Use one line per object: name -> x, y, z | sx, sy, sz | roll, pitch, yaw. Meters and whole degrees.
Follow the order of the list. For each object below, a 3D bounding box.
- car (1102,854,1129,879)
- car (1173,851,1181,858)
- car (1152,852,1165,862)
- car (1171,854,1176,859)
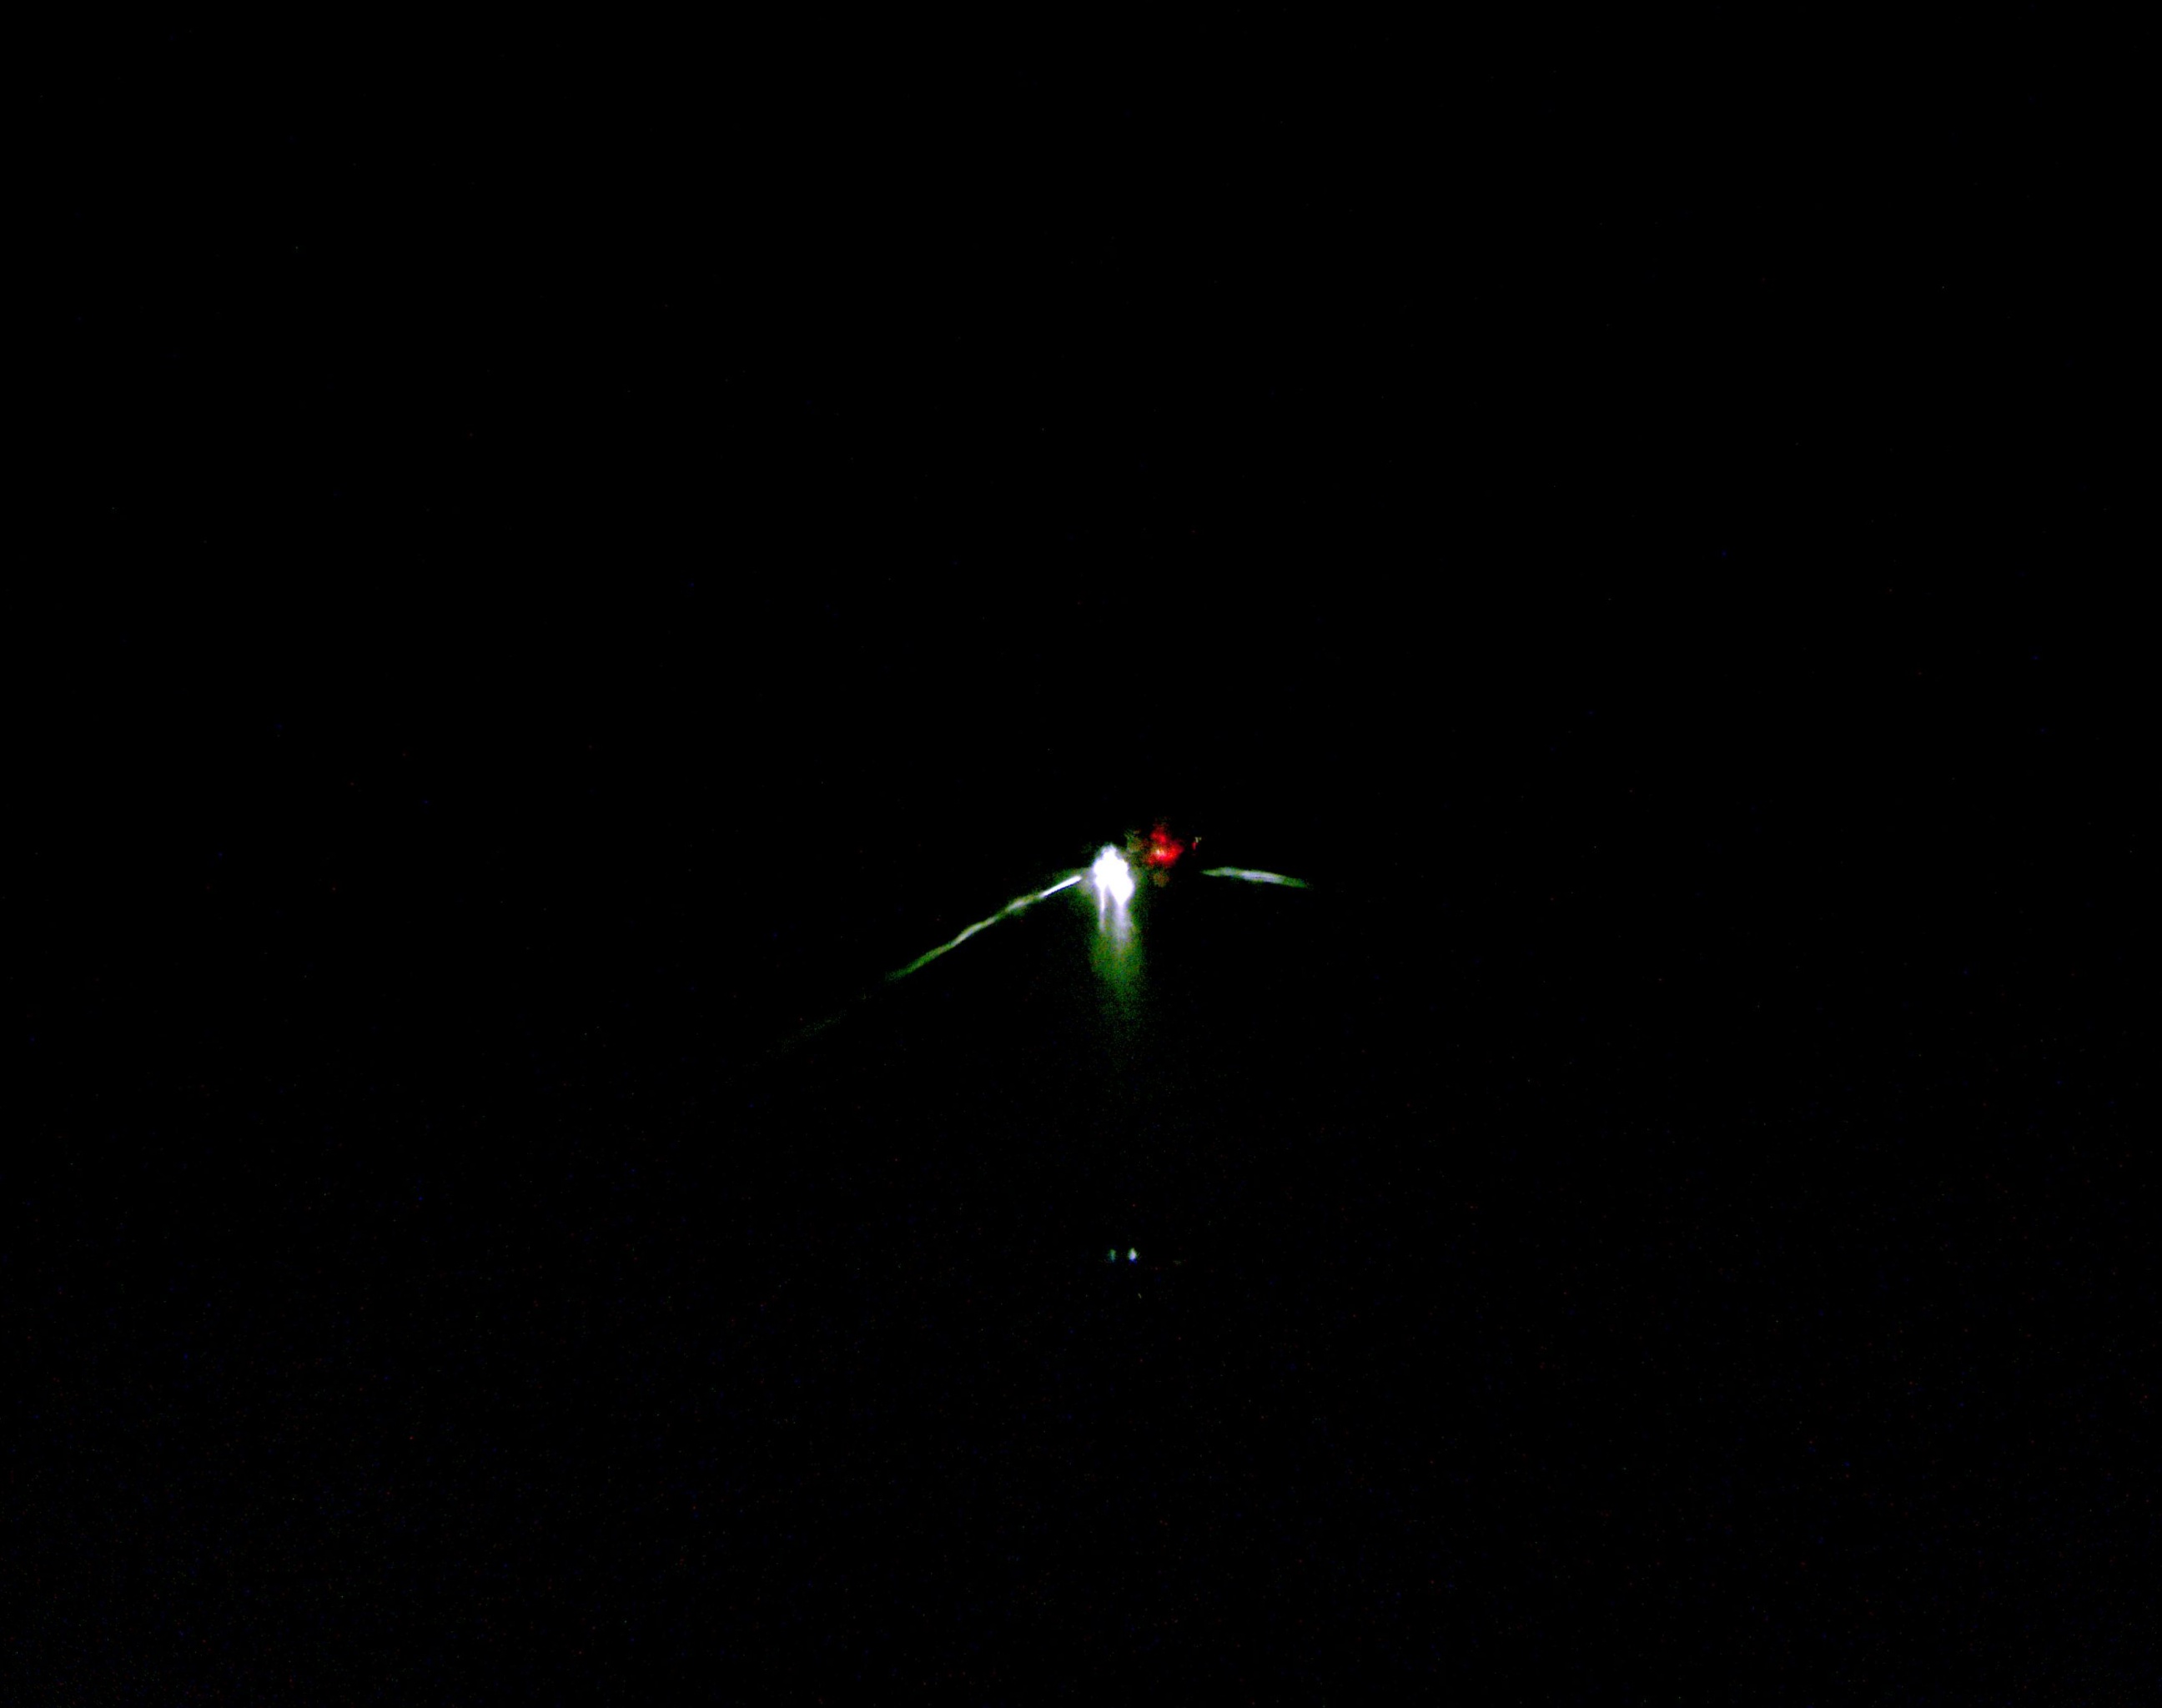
car -> 2.718, 0.945, 59.757 | 1.998, 1.804, 4.001 | -1, 0, 3
car -> 22.870, 0.067, 181.743 | 1.834, 1.545, 4.444 | -2, 0, 7
car -> 12.292, 0.474, 119.914 | 1.859, 1.512, 4.683 | -2, 0, 7
car -> 31.443, 0.767, 258.555 | 1.789, 1.623, 4.428 | -2, 0, 7
